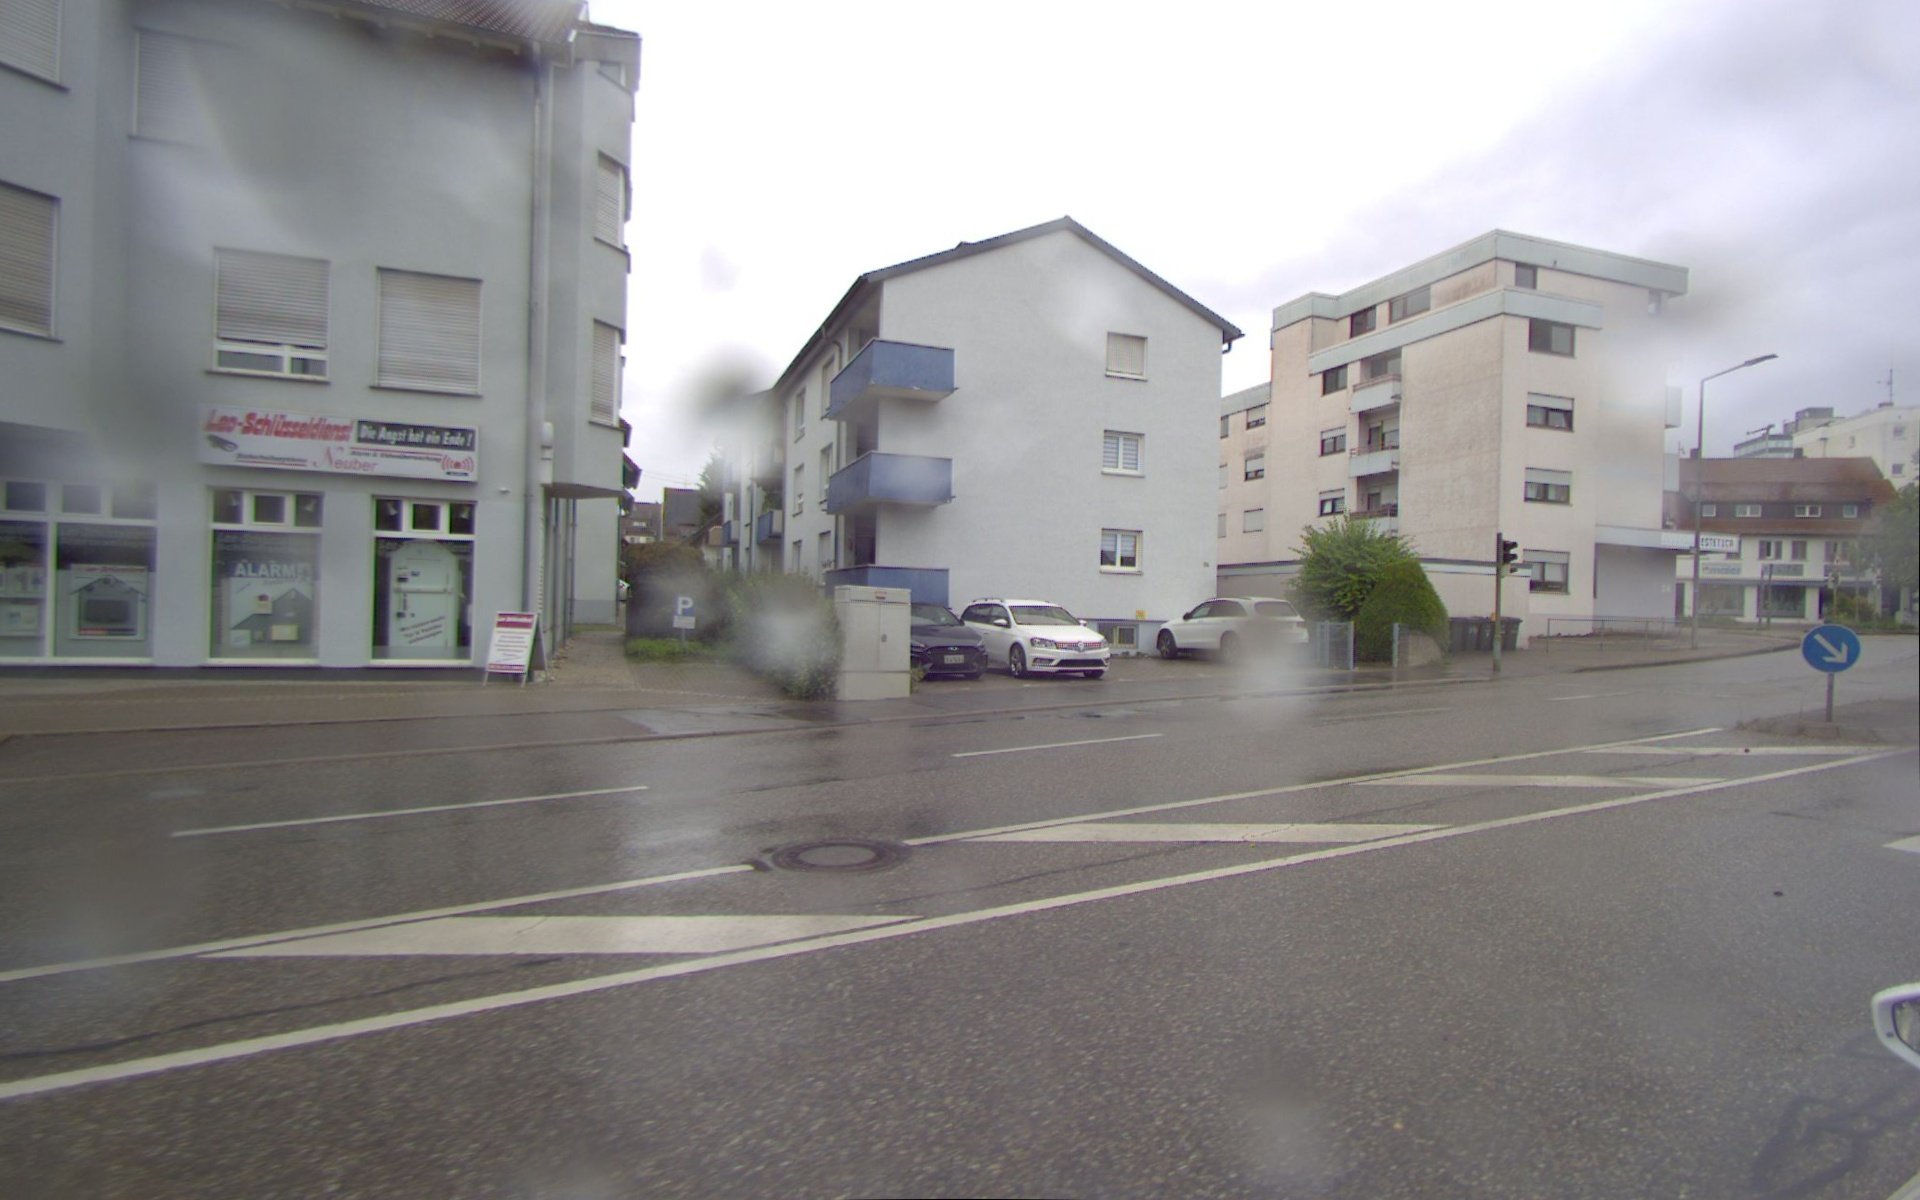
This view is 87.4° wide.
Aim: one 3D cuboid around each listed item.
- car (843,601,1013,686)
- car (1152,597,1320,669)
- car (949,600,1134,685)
[{"bbox_3d":[-0.728,0.749,19.222,1.878,1.430,3.976,0,0,-24],"label":"car"},{"bbox_3d":[6.869,0.767,25.538,1.910,1.658,4.445,0,0,-20],"label":"car"},{"bbox_3d":[1.477,0.751,19.940,1.878,1.493,4.207,0,0,-24],"label":"car"}]
